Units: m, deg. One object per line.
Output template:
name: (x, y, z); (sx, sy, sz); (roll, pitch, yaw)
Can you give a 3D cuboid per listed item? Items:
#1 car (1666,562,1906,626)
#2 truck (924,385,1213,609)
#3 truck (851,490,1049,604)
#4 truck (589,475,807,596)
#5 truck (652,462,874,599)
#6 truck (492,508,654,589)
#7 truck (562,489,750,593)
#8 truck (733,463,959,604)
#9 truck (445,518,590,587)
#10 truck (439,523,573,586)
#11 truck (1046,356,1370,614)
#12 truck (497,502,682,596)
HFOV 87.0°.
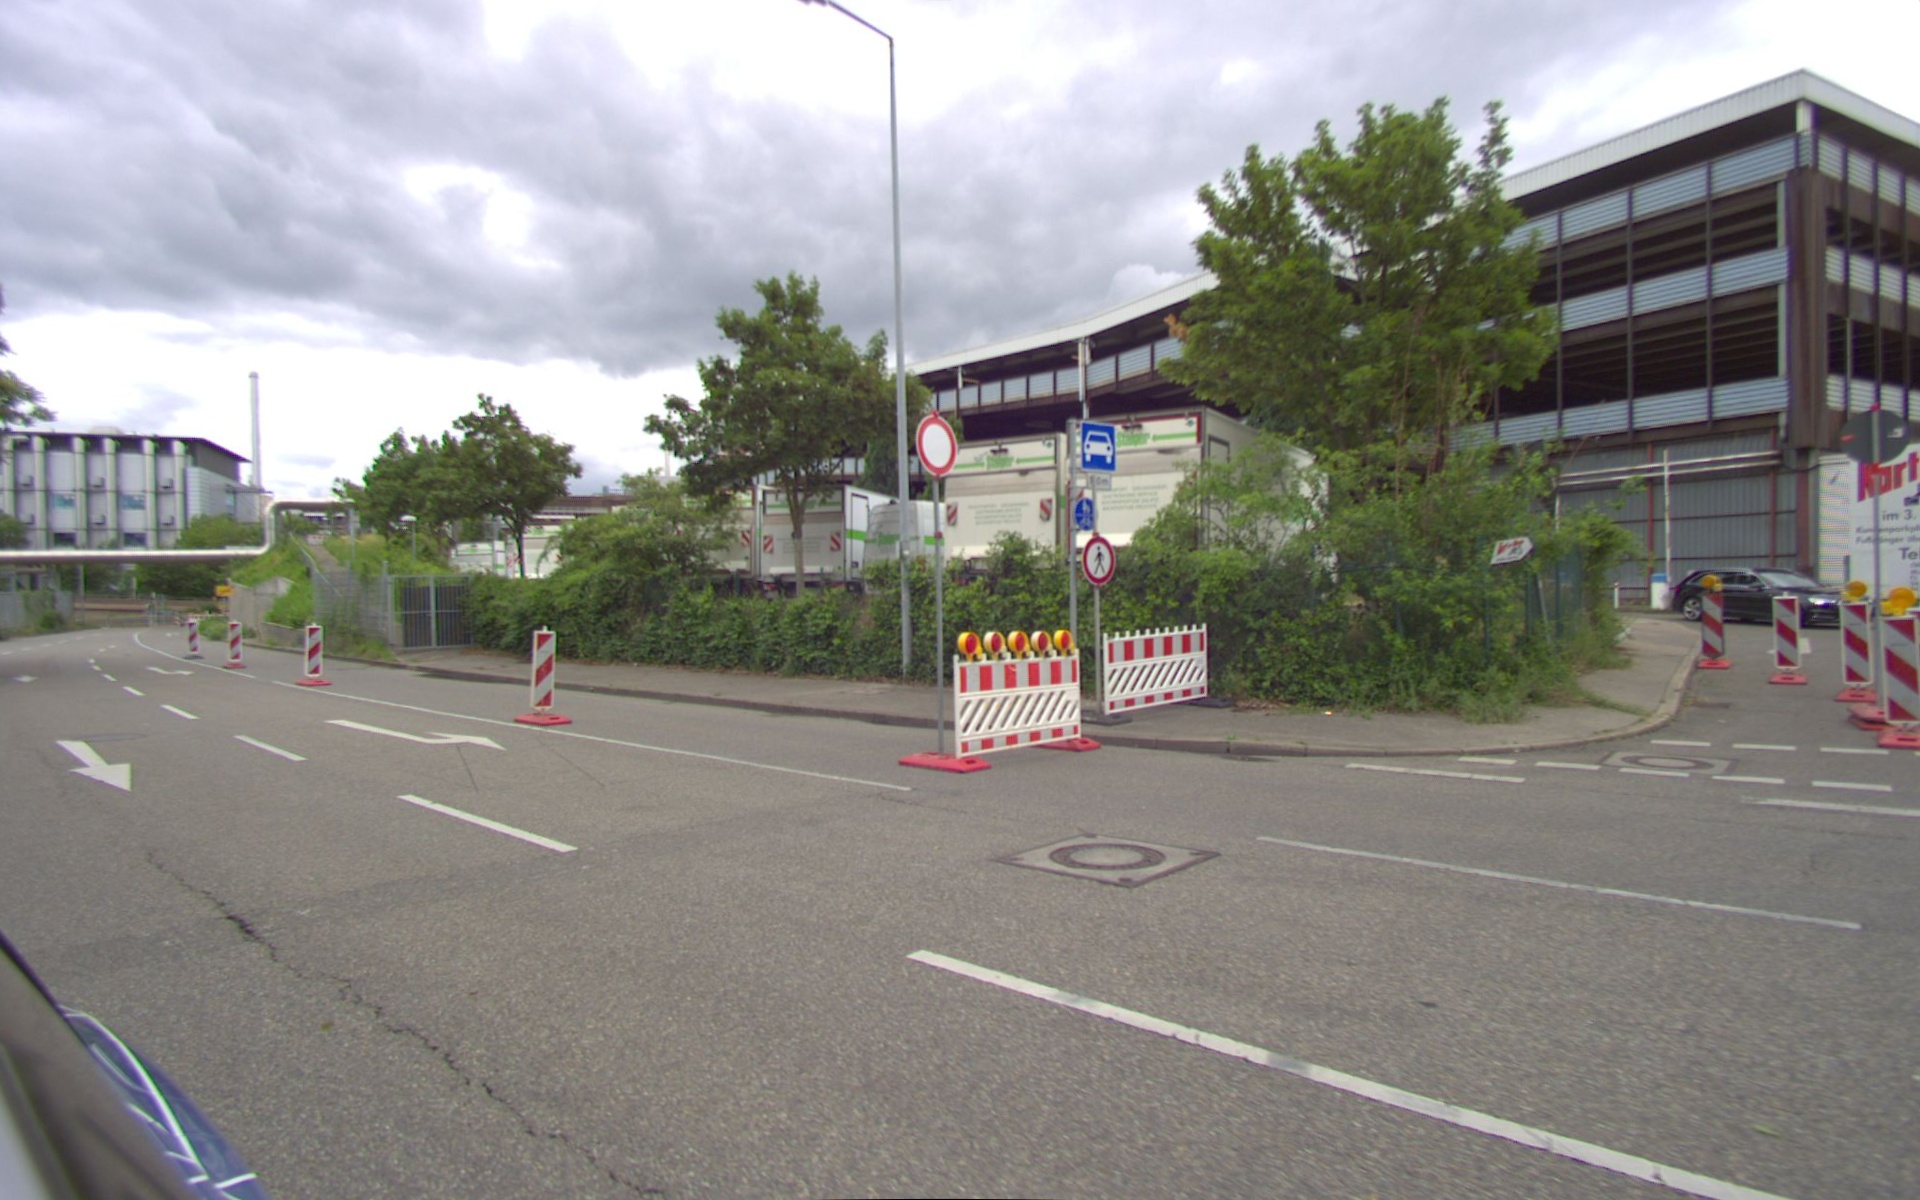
car: (20.216, -0.188, 25.058); (1.771, 1.419, 4.400); (-2, 2, -14)
truck: (2.726, -1.962, 22.301); (3.045, 4.020, 7.775); (1, 2, 34)
truck: (-0.135, -1.202, 24.054); (2.195, 2.423, 4.639); (1, 2, 41)
truck: (-8.502, -2.026, 34.085); (3.033, 3.564, 7.806); (1, 2, 23)
truck: (-5.595, -1.930, 30.515); (3.030, 3.564, 7.815); (1, 2, 20)
truck: (-18.254, -2.373, 48.425); (3.028, 3.564, 7.820); (1, 2, 18)
truck: (-11.361, -2.136, 38.867); (3.028, 3.564, 7.820); (1, 2, 18)
truck: (-2.782, -1.679, 27.795); (3.030, 3.274, 7.815); (1, 2, 20)
truck: (-24.611, -2.578, 56.783); (3.028, 3.564, 7.820); (1, 2, 18)
truck: (-27.548, -2.705, 61.849); (3.028, 3.564, 7.820); (1, 2, 18)
truck: (5.523, -1.924, 20.619); (3.047, 4.020, 9.535); (1, 2, 36)
truck: (-15.395, -2.080, 42.883); (3.028, 3.564, 8.107); (1, 2, 18)
